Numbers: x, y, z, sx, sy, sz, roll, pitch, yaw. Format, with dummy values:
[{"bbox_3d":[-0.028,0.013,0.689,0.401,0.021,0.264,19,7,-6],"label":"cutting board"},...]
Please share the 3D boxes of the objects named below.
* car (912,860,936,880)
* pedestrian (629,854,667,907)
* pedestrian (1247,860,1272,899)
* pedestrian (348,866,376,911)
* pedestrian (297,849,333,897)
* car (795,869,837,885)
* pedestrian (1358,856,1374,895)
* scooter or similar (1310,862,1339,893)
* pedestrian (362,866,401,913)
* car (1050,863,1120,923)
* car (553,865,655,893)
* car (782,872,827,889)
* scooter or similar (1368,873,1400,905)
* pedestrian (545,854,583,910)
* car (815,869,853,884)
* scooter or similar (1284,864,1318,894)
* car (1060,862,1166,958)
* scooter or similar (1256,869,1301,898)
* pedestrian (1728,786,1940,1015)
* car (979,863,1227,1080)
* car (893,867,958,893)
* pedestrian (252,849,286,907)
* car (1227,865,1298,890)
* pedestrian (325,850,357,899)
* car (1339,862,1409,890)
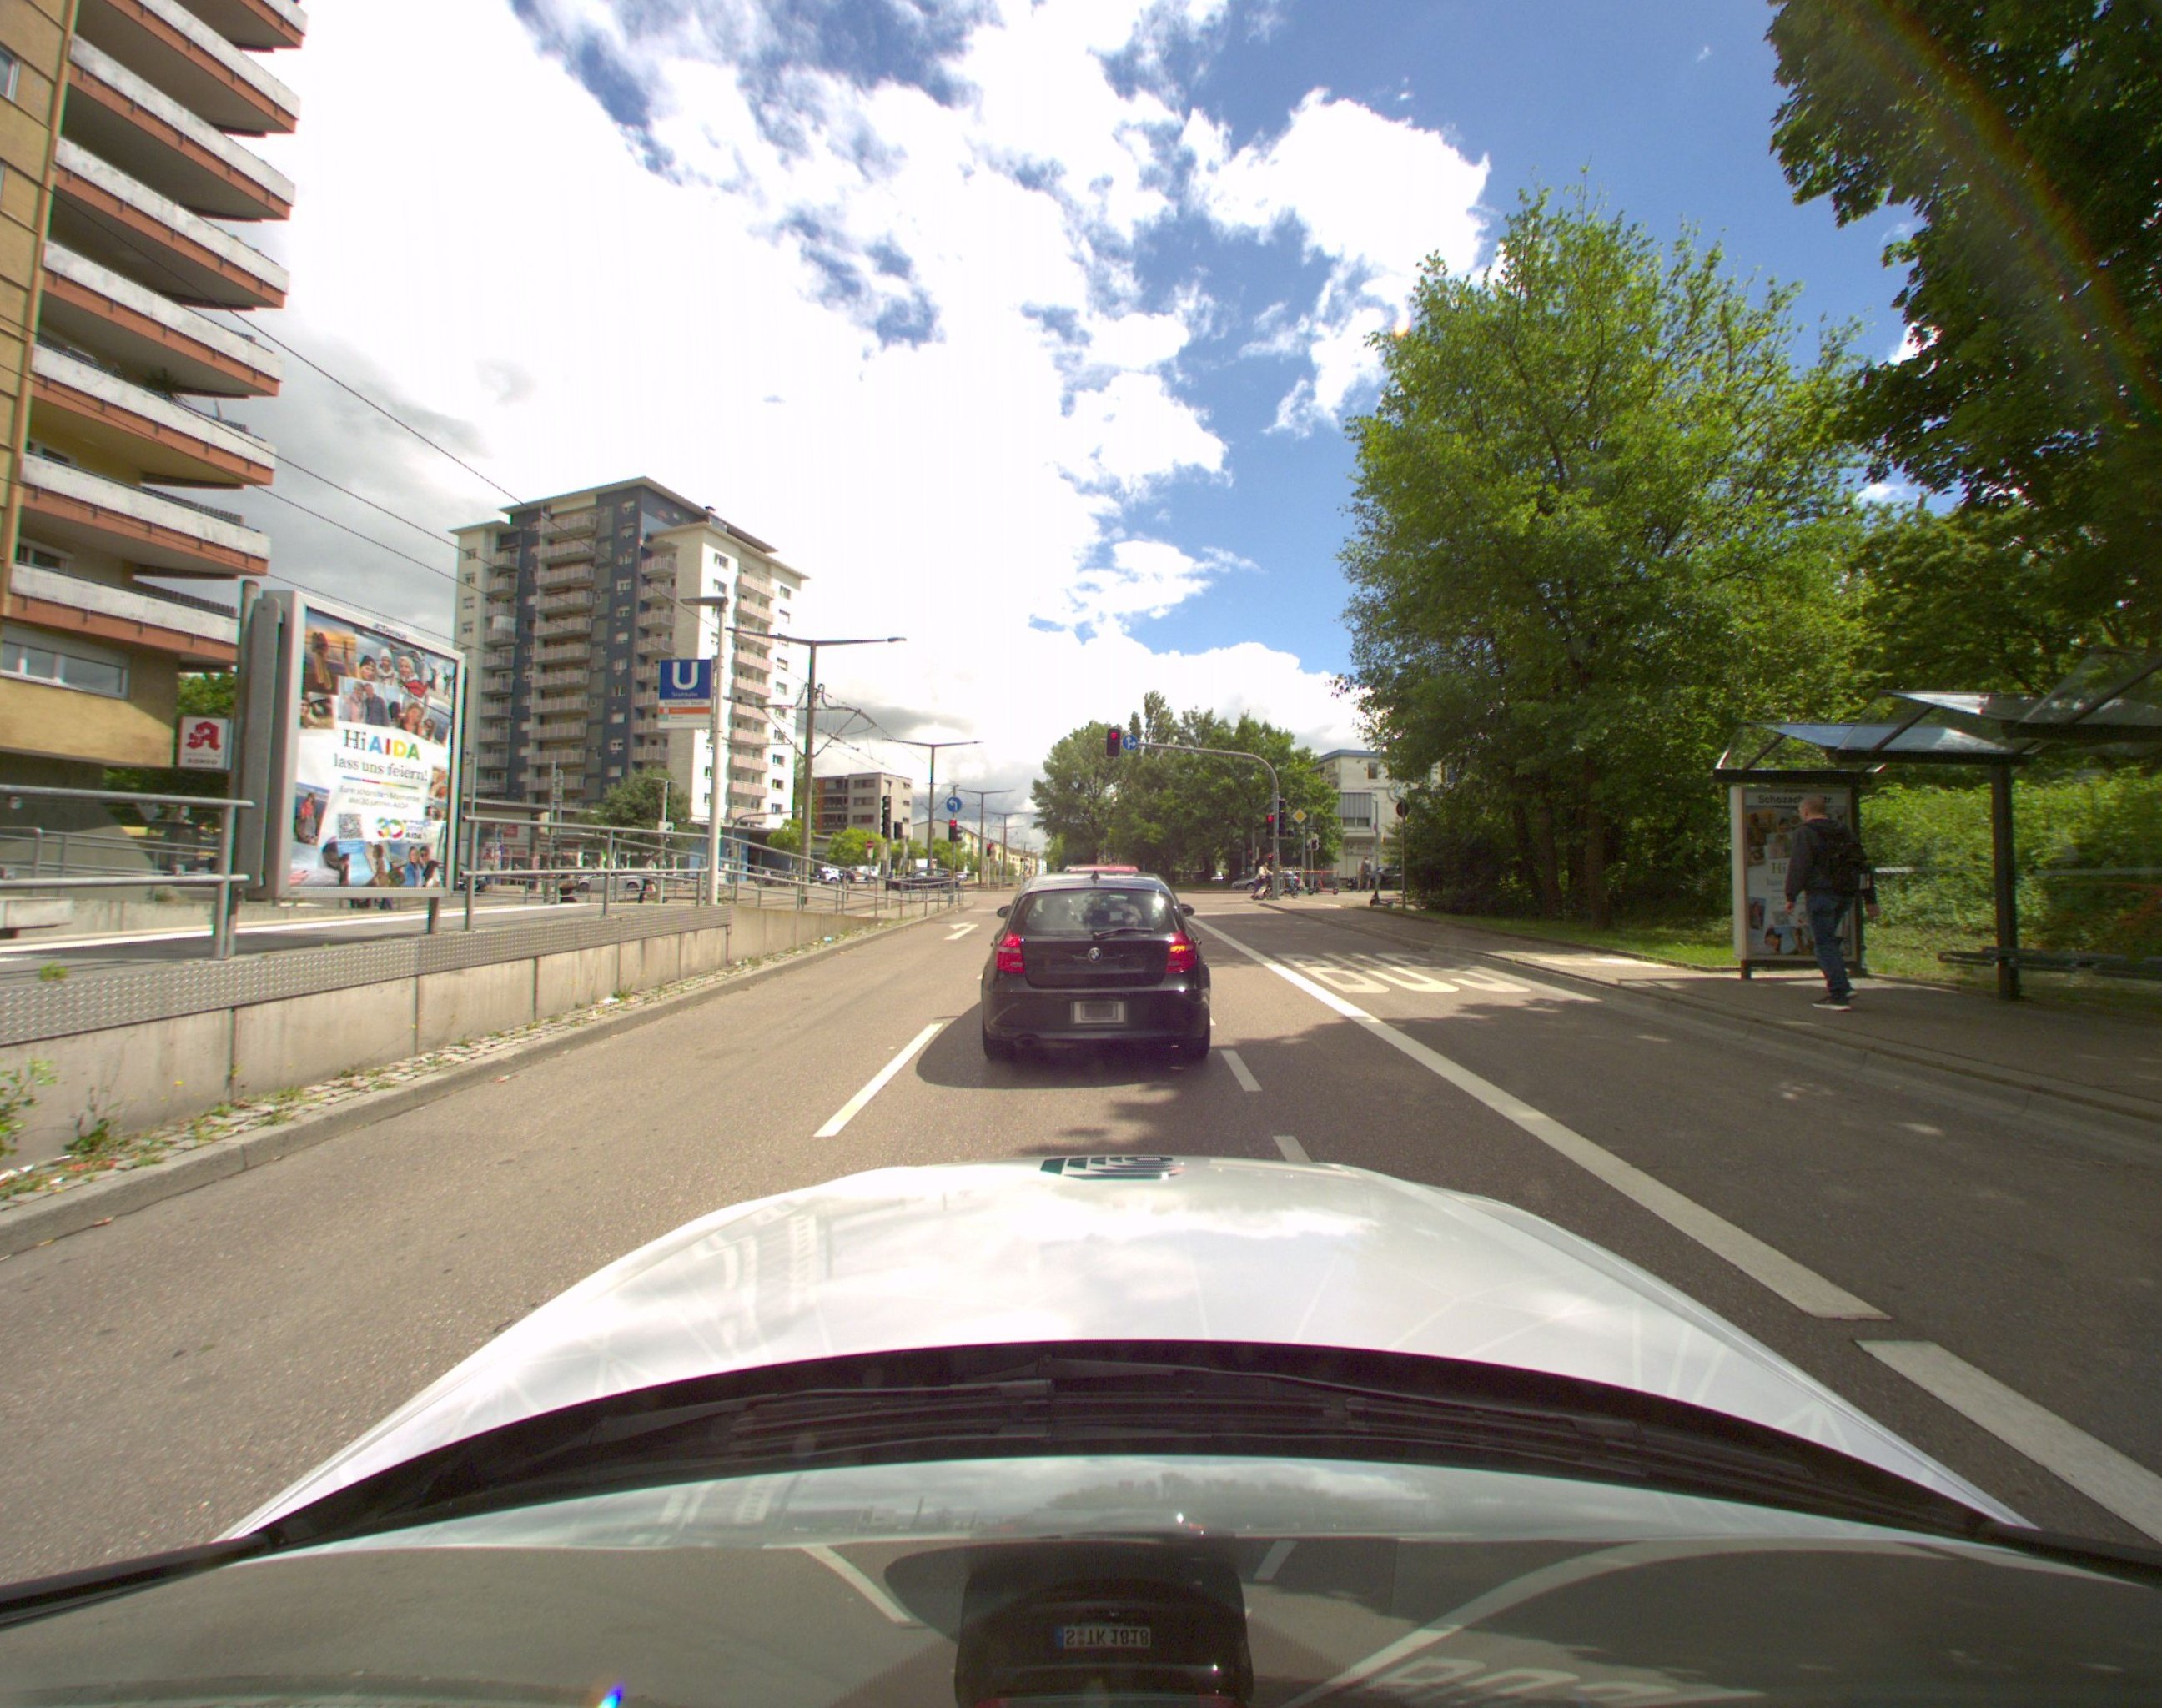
[{"bbox_3d":[-20.753,2.085,107.880,2.132,2.640,5.358,0,-1,0],"label":"car"},{"bbox_3d":[-14.209,0.867,26.727,0.681,1.697,0.865,-1,-1,22],"label":"pedestrian"},{"bbox_3d":[6.787,0.950,30.928,0.858,1.442,0.802,-1,-1,14],"label":"pedestrian"},{"bbox_3d":[-21.748,1.025,24.630,0.660,1.343,0.558,-1,-1,44],"label":"pedestrian"},{"bbox_3d":[-25.522,0.634,27.153,0.602,1.583,0.779,-1,-1,38],"label":"pedestrian"},{"bbox_3d":[-25.733,2.267,79.124,3.600,1.462,1.612,-1,-1,-7],"label":"car"},{"bbox_3d":[13.301,0.990,38.007,0.608,1.790,0.571,3,-1,20],"label":"pedestrian"},{"bbox_3d":[10.223,0.976,34.161,1.107,1.258,0.331,-1,-1,-10],"label":"scooter or similar"},{"bbox_3d":[-20.749,1.035,24.169,0.691,1.343,0.852,0,-1,-29],"label":"pedestrian"},{"bbox_3d":[0.111,0.954,21.204,1.649,1.419,3.516,0,0,0],"label":"car"},{"bbox_3d":[-27.355,1.413,46.860,4.630,1.480,1.997,-1,-1,-5],"label":"car"},{"bbox_3d":[-25.329,2.427,74.751,3.600,1.462,1.612,-1,-1,-7],"label":"car"},{"bbox_3d":[10.751,1.226,28.884,1.153,1.099,0.329,0,-1,-22],"label":"scooter or similar"},{"bbox_3d":[-15.436,0.833,24.317,0.699,1.633,0.637,-1,-1,-4],"label":"pedestrian"},{"bbox_3d":[-26.122,2.357,86.141,3.600,1.462,1.612,-1,-1,-7],"label":"car"},{"bbox_3d":[8.998,1.032,33.316,1.290,1.189,0.383,-1,-1,-14],"label":"scooter or similar"},{"bbox_3d":[0.570,0.867,14.075,1.588,1.419,3.519,-1,0,3],"label":"car"},{"bbox_3d":[7.448,1.108,30.671,1.789,1.051,0.407,0,0,-25],"label":"scooter or similar"},{"bbox_3d":[6.779,0.390,7.424,0.798,1.895,1.271,1,-1,3],"label":"pedestrian"},{"bbox_3d":[0.254,0.804,7.197,1.647,1.419,3.520,-1,0,4],"label":"car"},{"bbox_3d":[-9.118,1.508,48.010,3.600,1.462,1.612,-1,-1,-7],"label":"car"},{"bbox_3d":[-24.658,0.713,24.721,0.816,1.706,0.686,-1,-1,43],"label":"pedestrian"},{"bbox_3d":[11.238,1.446,50.550,3.983,1.526,1.671,0,-1,-7],"label":"car"},{"bbox_3d":[-24.328,0.661,26.795,0.626,1.578,0.852,0,-1,-32],"label":"pedestrian"},{"bbox_3d":[17.379,1.278,48.396,3.578,1.601,1.705,0,-1,-11],"label":"car"}]
